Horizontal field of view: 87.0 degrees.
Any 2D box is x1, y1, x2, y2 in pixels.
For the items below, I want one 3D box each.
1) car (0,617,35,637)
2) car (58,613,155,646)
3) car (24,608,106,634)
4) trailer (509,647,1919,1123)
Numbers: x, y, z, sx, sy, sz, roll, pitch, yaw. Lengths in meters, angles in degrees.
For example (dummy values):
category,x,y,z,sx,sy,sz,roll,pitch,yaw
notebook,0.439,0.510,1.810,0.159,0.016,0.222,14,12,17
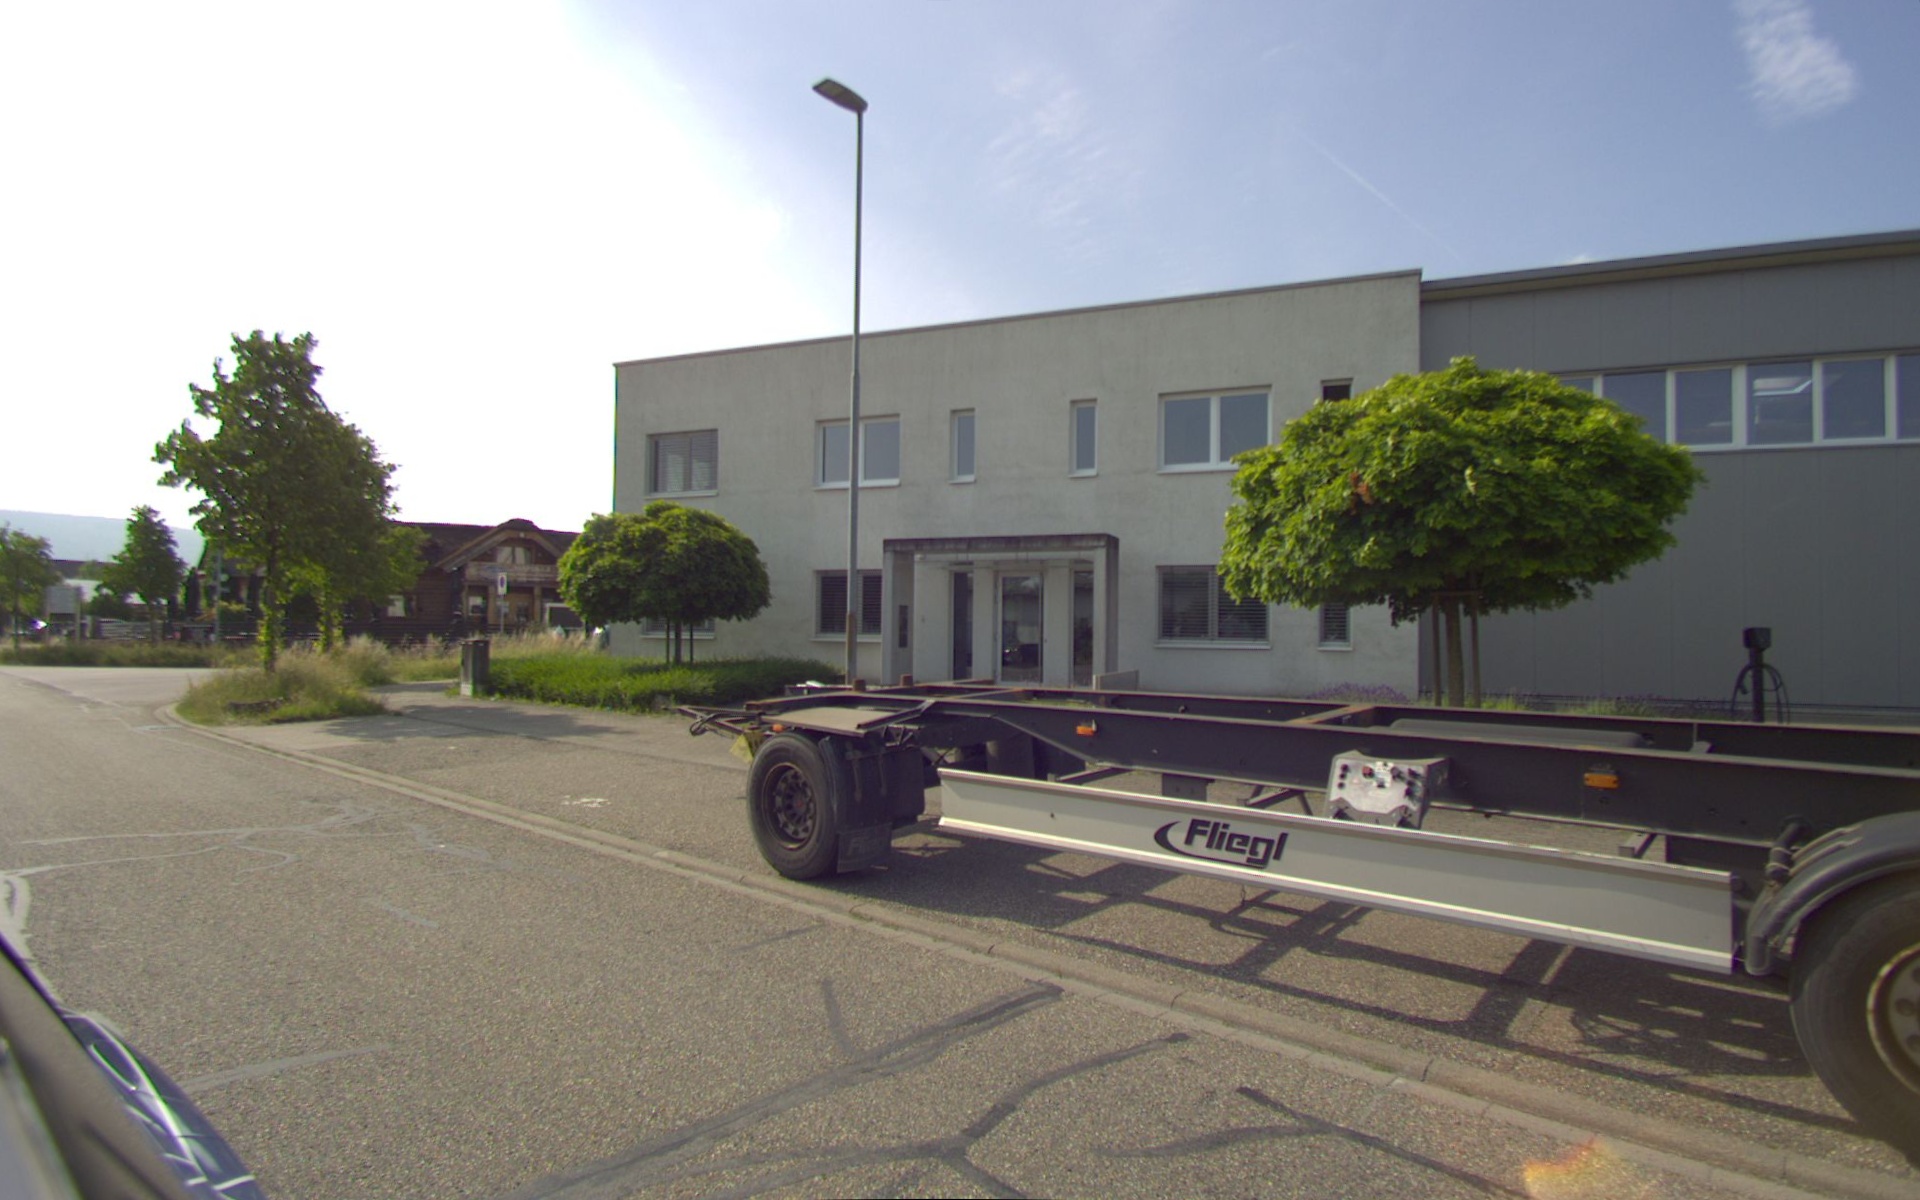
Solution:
category,x,y,z,sx,sy,sz,roll,pitch,yaw
car,-72.952,2.047,78.058,3.542,1.492,1.596,-1,-2,34
car,-47.895,1.649,56.842,1.999,1.741,3.944,-1,-2,42
car,-64.611,1.541,73.143,1.985,1.807,3.974,0,-2,19
trailer,0.758,0.935,6.059,9.727,1.082,2.519,-1,-1,41
